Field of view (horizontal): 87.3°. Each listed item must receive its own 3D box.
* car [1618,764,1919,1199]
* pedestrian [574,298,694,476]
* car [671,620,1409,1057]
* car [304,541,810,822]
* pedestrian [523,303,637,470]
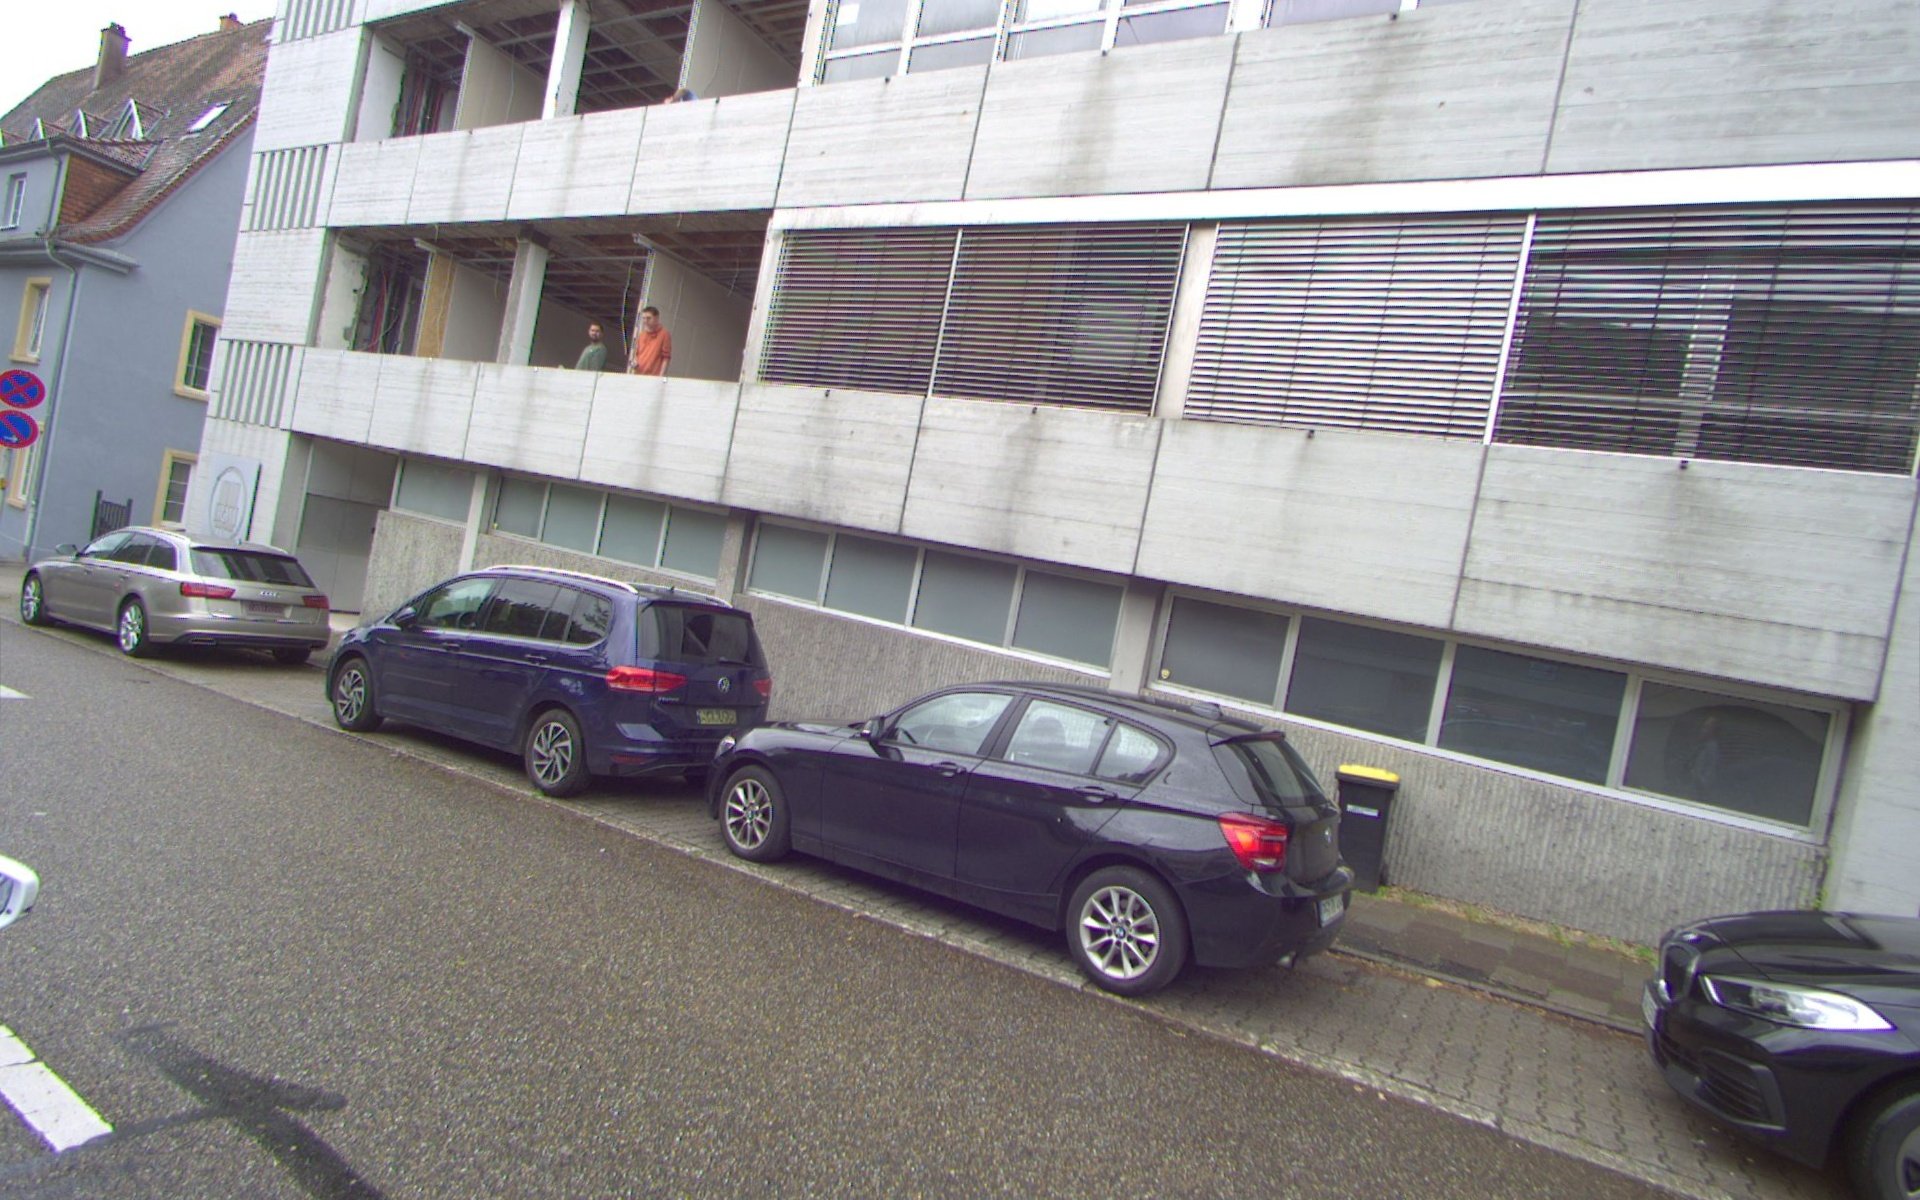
[{"bbox_3d":[5.084,1.765,3.537,4.367,1.452,1.998,7,-1,30],"label":"car"},{"bbox_3d":[-4.225,-2.730,13.080,0.847,2.036,0.909,6,-2,31],"label":"pedestrian"},{"bbox_3d":[0.334,1.151,6.316,4.183,1.465,1.750,7,-1,34],"label":"car"},{"bbox_3d":[-3.535,0.579,8.658,4.090,1.618,1.732,7,-1,30],"label":"car"},{"bbox_3d":[-5.264,-2.926,13.967,0.847,2.036,0.909,6,-2,31],"label":"pedestrian"}]
